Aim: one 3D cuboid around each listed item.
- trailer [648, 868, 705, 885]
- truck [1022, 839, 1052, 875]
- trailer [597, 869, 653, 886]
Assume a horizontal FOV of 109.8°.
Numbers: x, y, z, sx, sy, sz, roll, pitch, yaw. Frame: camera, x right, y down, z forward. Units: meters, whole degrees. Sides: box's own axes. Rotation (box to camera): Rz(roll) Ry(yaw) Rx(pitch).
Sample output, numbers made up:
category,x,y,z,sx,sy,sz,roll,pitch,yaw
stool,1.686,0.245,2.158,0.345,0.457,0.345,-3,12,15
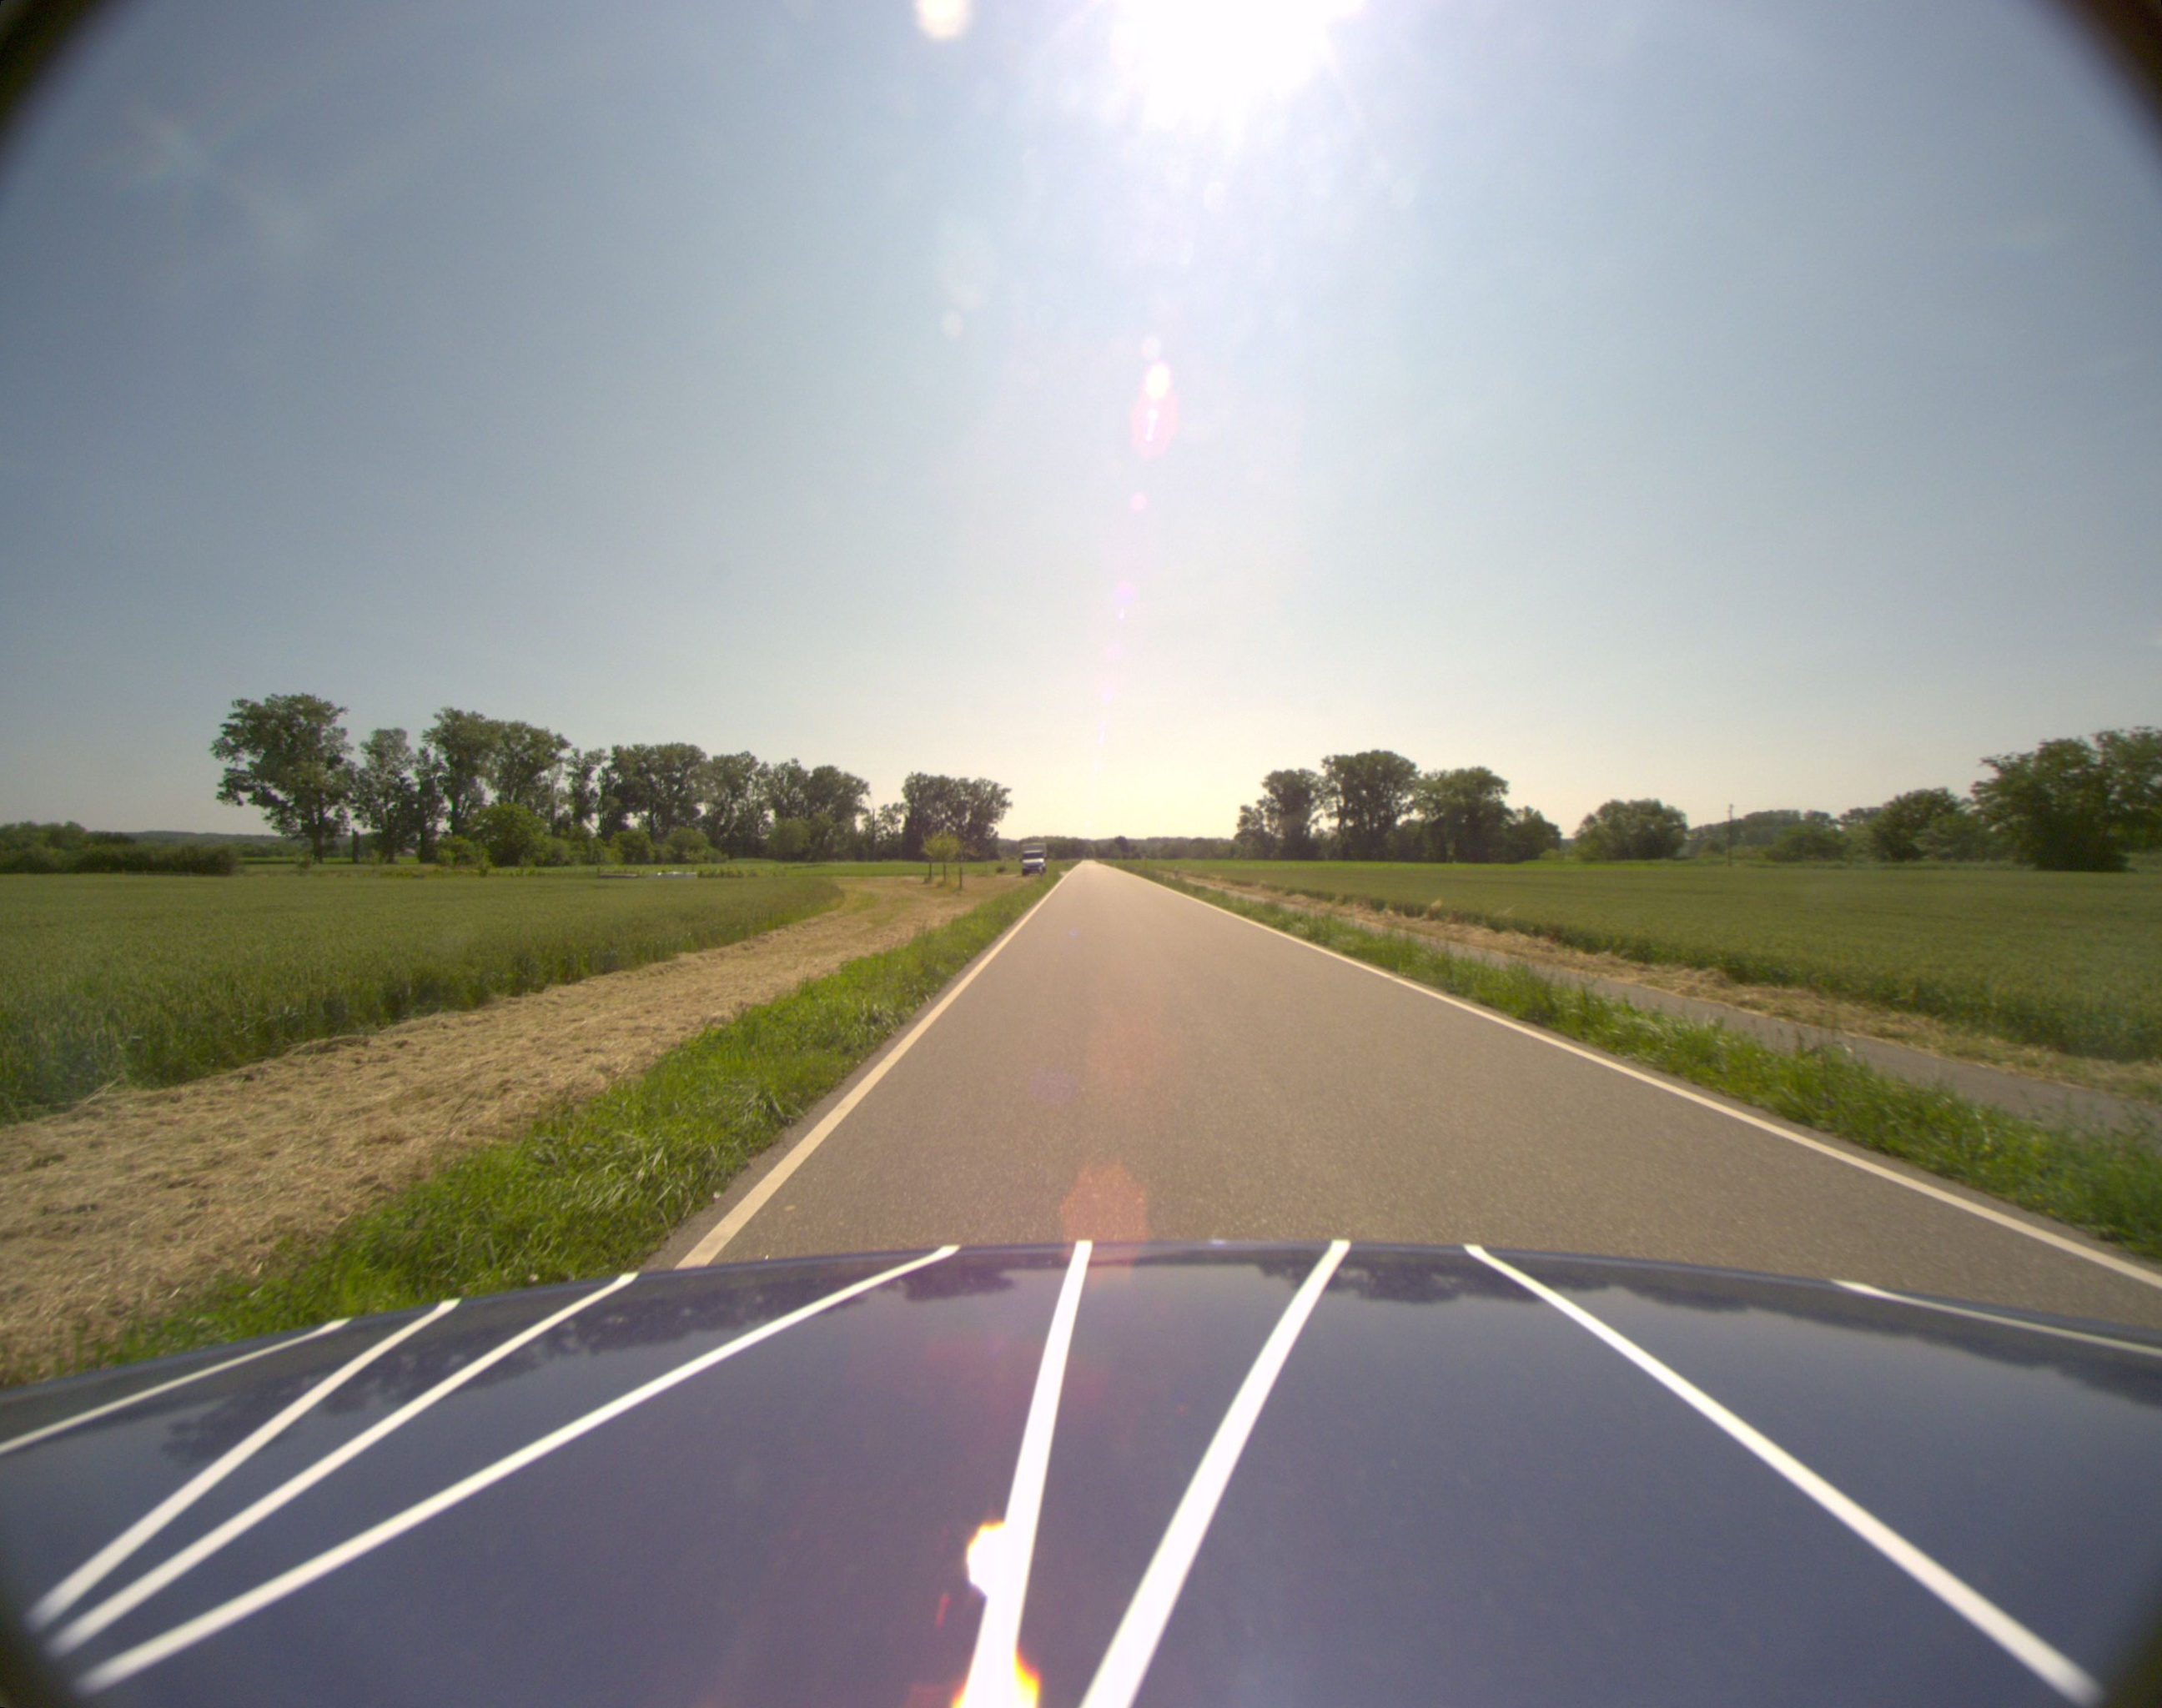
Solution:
category,x,y,z,sx,sy,sz,roll,pitch,yaw
trailer,-31.233,1.713,58.650,3.591,1.182,1.665,-2,0,12
truck,-3.933,0.216,68.700,2.342,2.925,7.007,-3,0,-1
trailer,-35.825,1.865,59.754,3.543,1.182,1.665,-1,1,12
